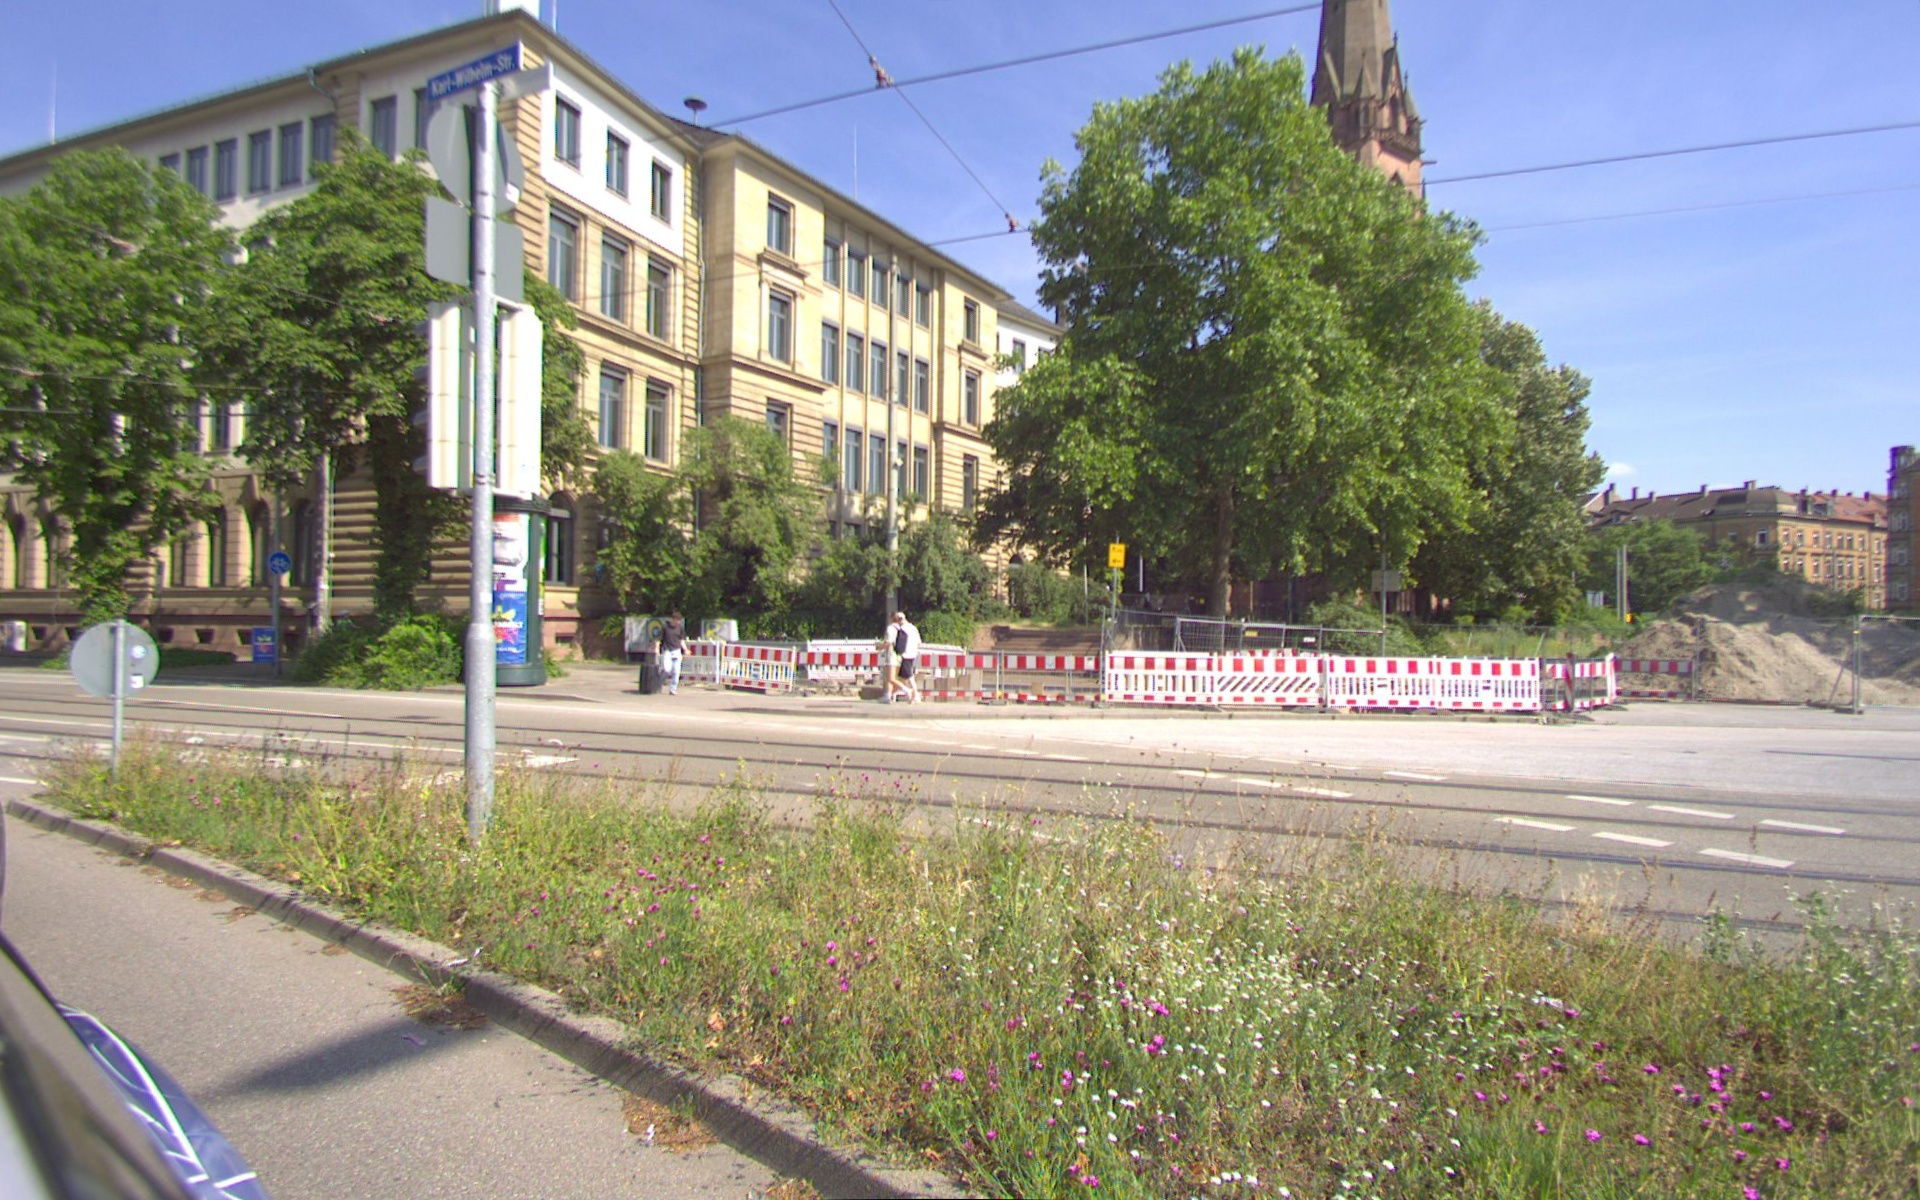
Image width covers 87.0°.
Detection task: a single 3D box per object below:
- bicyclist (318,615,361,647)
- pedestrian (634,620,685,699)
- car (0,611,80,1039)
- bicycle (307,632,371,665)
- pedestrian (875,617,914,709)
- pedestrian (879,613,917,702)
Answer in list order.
[{"bbox_3d":[-18.501,0.918,30.190,0.862,0.934,0.679,0,-2,18],"label":"bicyclist"},{"bbox_3d":[-6.507,1.267,21.884,0.924,1.668,0.847,1,-2,-25],"label":"pedestrian"},{"bbox_3d":[-5.818,0.795,4.393,4.815,1.530,1.843,0,-2,35],"label":"car"},{"bbox_3d":[-18.498,1.425,30.169,1.651,0.954,0.697,0,-2,17],"label":"bicycle"},{"bbox_3d":[-1.275,1.212,19.756,0.734,1.763,0.585,0,-2,-1],"label":"pedestrian"},{"bbox_3d":[-1.244,1.153,20.372,0.734,1.763,0.585,0,-2,-1],"label":"pedestrian"}]
